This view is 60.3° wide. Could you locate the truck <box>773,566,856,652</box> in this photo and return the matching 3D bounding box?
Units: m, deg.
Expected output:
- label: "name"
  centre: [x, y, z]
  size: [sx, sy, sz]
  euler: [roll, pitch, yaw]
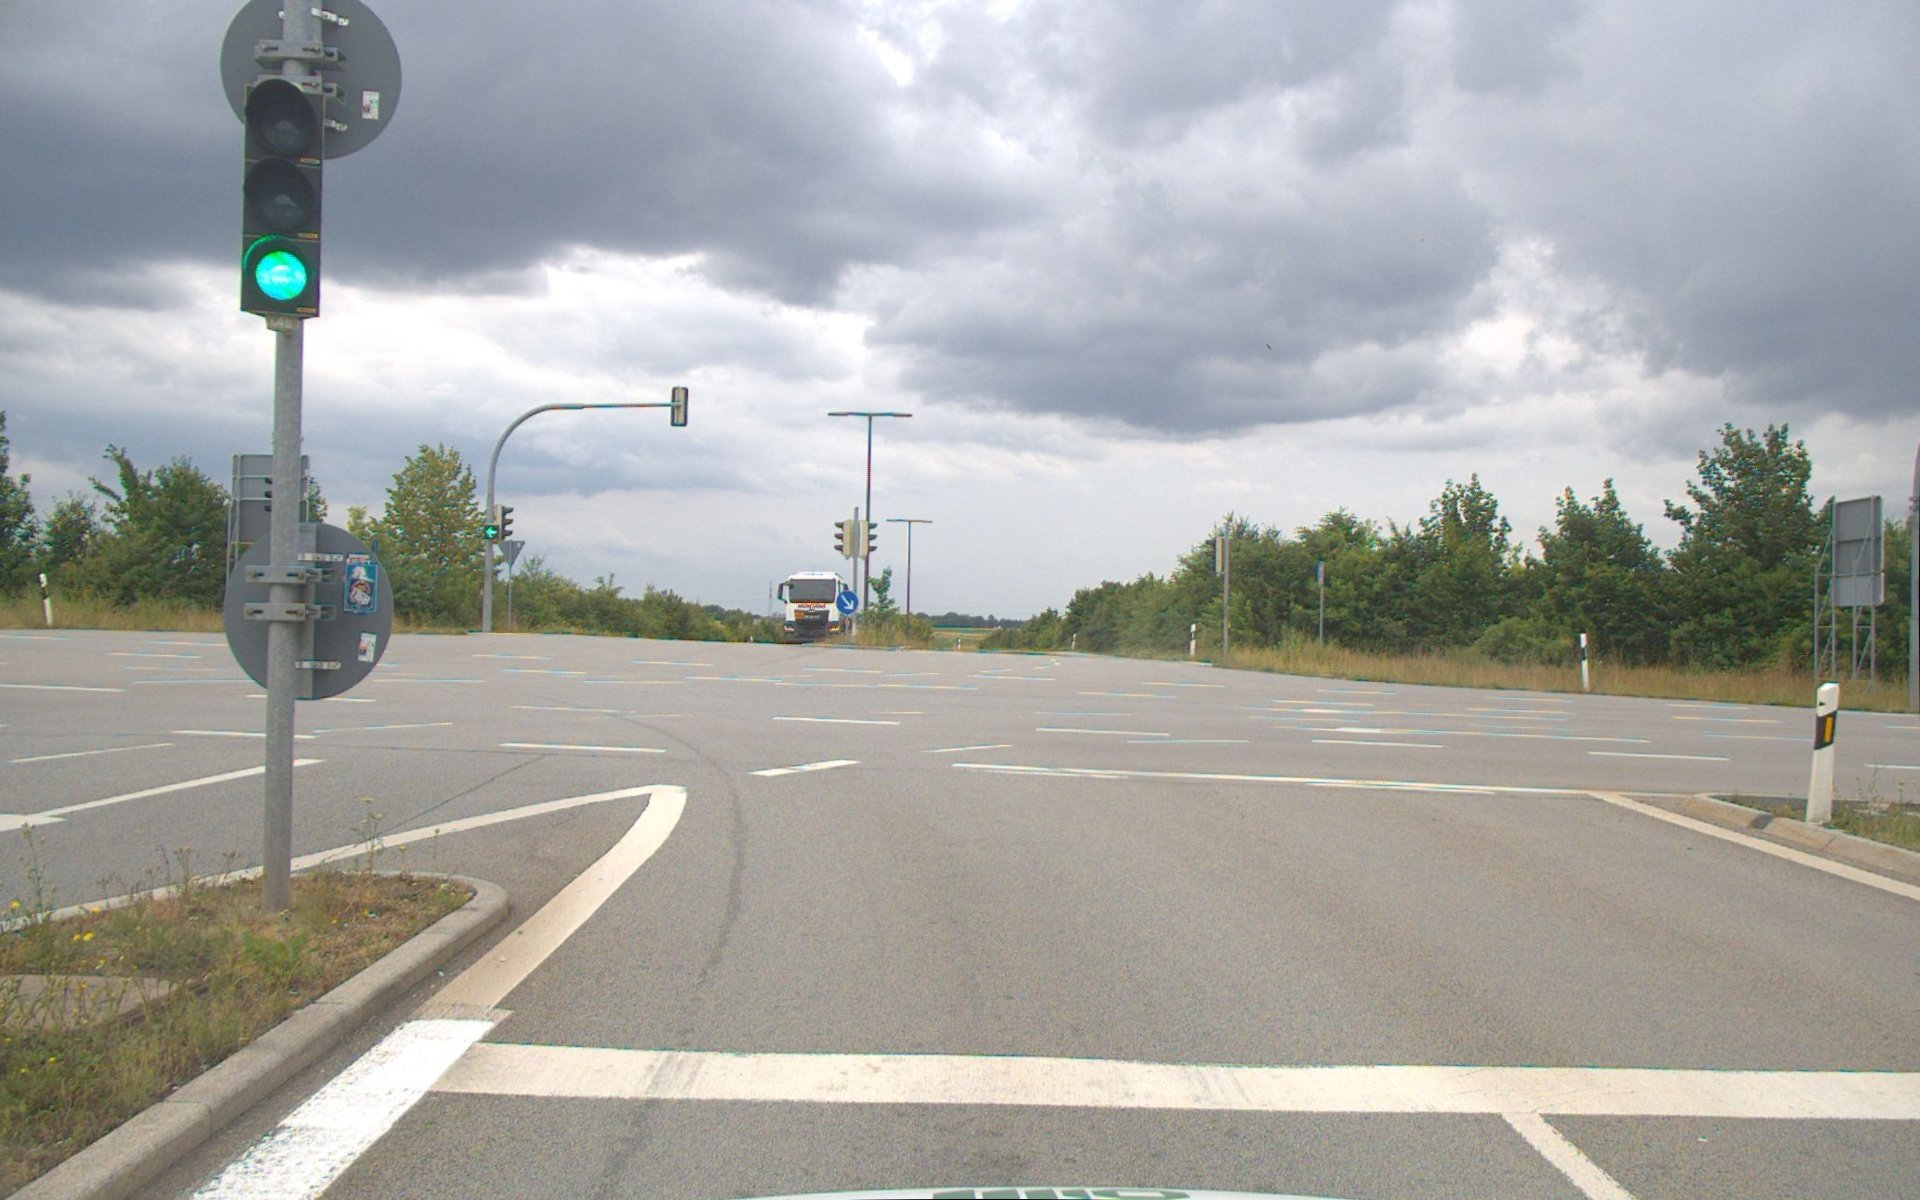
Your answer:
- label: "truck"
  centre: [-6.207, 0.489, 71.758]
  size: [2.811, 3.468, 8.648]
  euler: [1, -2, 0]
